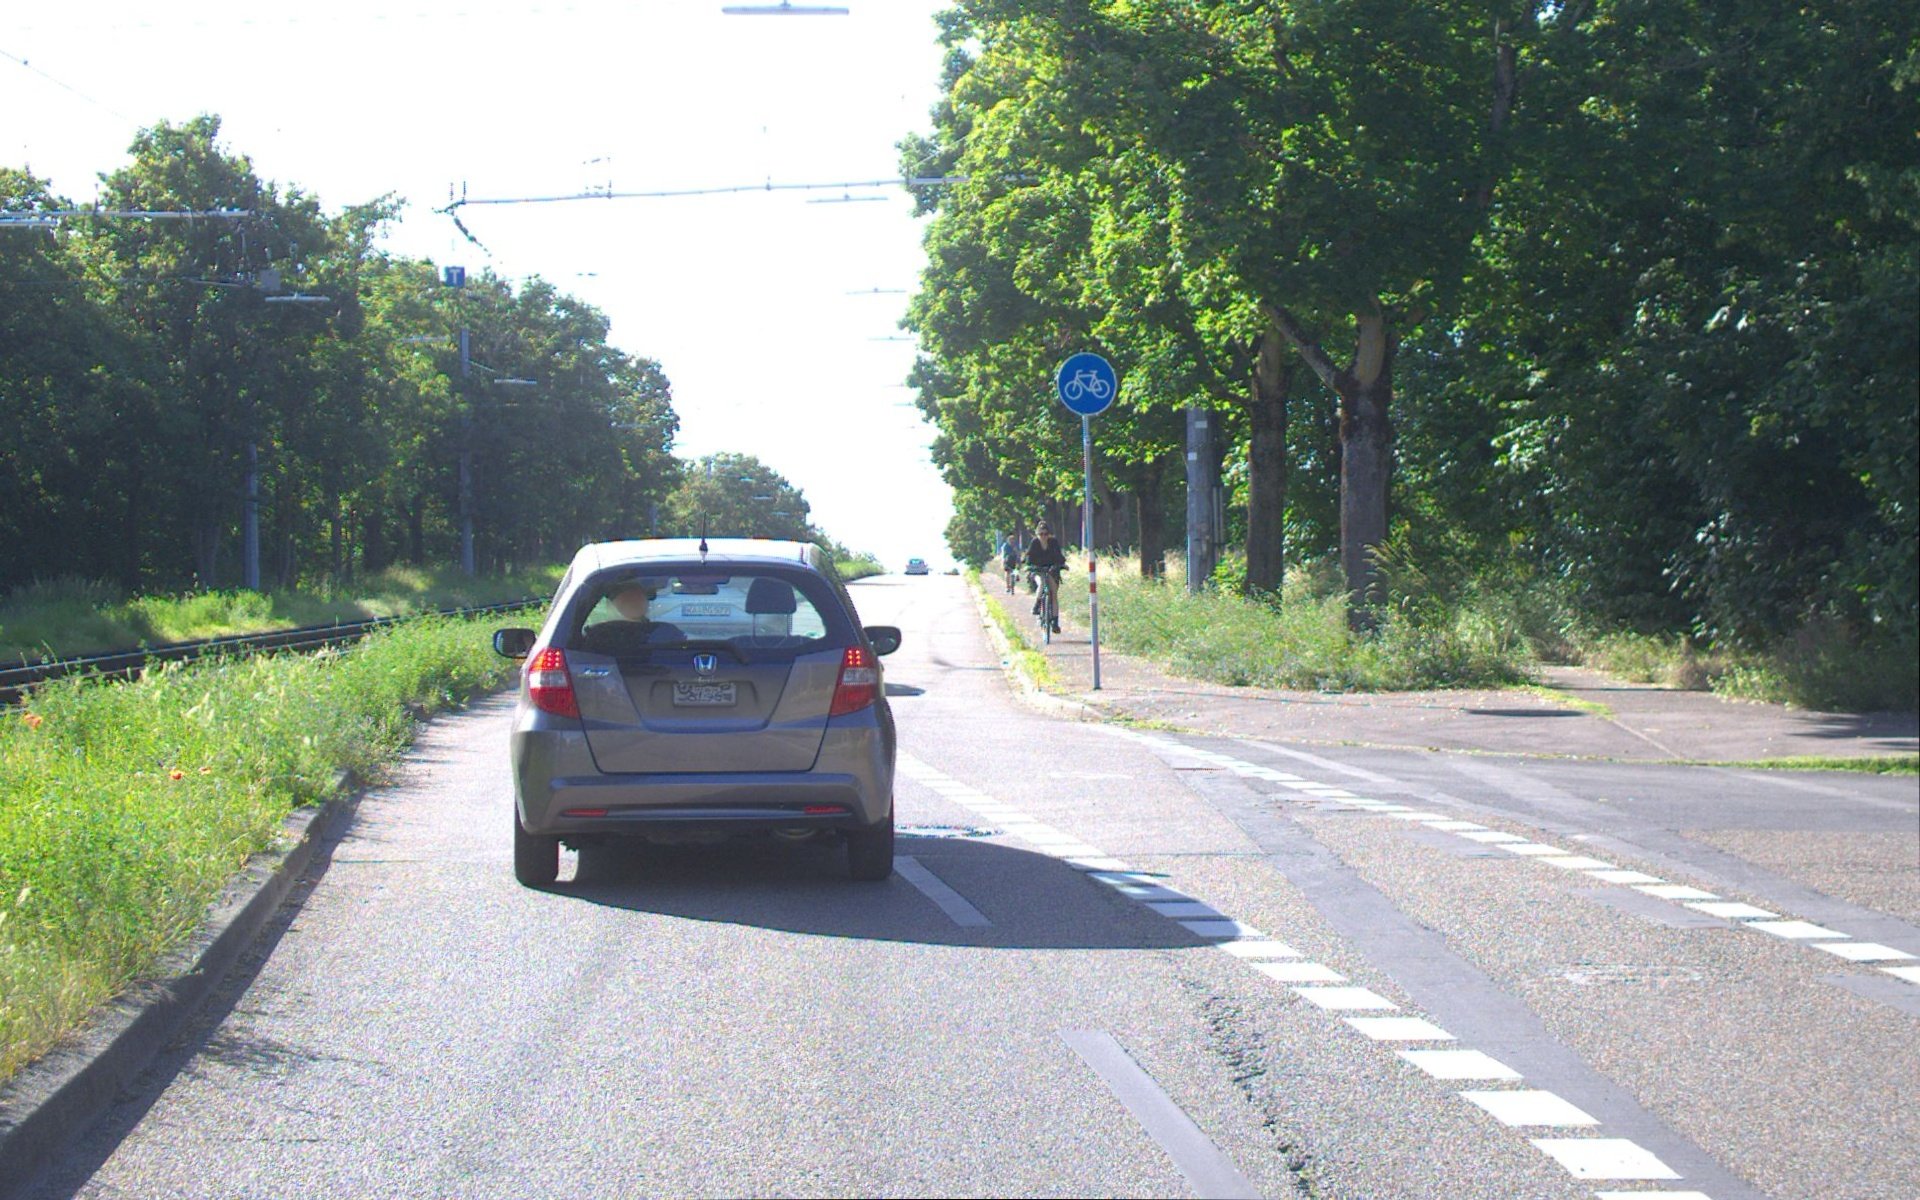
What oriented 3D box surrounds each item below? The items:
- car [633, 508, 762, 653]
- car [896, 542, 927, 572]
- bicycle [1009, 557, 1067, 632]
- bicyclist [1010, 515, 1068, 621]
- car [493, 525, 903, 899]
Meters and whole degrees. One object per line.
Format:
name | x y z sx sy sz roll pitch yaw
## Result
car | -2.895 -0.197 38.024 1.351 1.522 3.123 -1 0 -4
car | -3.596 -3.169 255.558 1.993 2.007 4.000 -5 0 1
bicycle | 1.142 -0.061 50.291 0.818 1.044 2.506 1 -1 1
bicyclist | 1.155 -0.464 50.316 0.818 1.519 0.966 1 -1 1
car | -1.219 0.432 16.193 1.670 1.510 3.674 1 1 -4
